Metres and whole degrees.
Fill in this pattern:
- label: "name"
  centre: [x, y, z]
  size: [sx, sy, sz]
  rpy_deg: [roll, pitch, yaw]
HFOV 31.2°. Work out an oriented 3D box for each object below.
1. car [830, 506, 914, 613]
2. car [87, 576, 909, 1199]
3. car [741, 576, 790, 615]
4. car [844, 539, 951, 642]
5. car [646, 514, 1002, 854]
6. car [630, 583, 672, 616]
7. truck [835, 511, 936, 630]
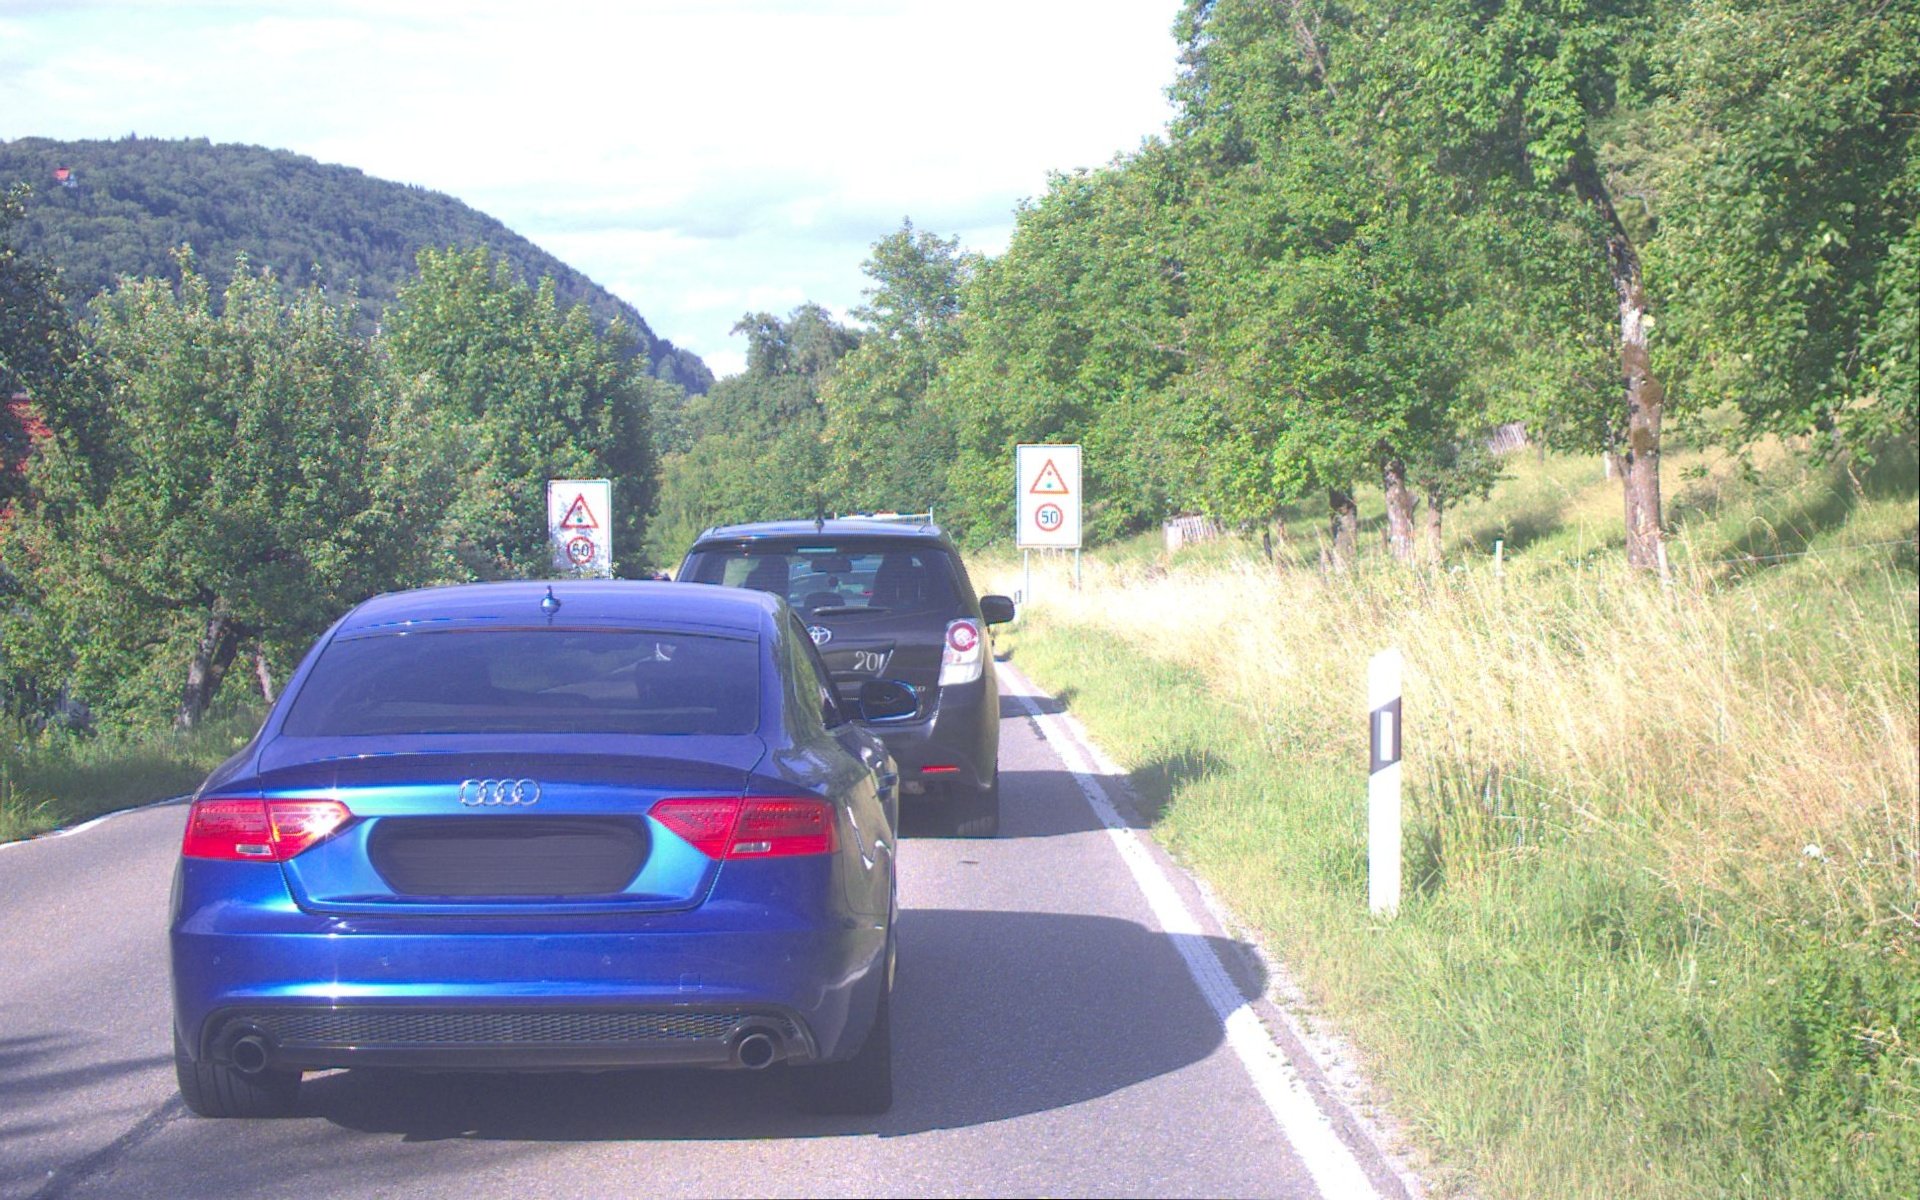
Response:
- label: "car"
  centre: [-2.111, -0.970, 81.385]
  size: [1.792, 2.445, 3.920]
  rpy_deg: [1, 1, -4]
- label: "car"
  centre: [-1.070, 0.644, 9.848]
  size: [1.805, 1.377, 4.215]
  rpy_deg: [0, 1, 0]
- label: "car"
  centre: [-7.815, -0.191, 137.777]
  size: [1.558, 1.490, 3.779]
  rpy_deg: [1, 1, -9]
- label: "car"
  centre: [-1.015, -0.183, 56.164]
  size: [1.692, 1.618, 3.789]
  rpy_deg: [0, 1, -1]
- label: "car"
  centre: [-0.672, 0.363, 18.251]
  size: [1.692, 1.618, 3.789]
  rpy_deg: [0, 1, -1]
- label: "car"
  centre: [-15.301, -0.034, 170.304]
  size: [1.558, 1.490, 3.779]
  rpy_deg: [1, 1, -13]
- label: "truck"
  centre: [-1.556, -0.620, 71.294]
  size: [1.950, 2.337, 5.094]
  rpy_deg: [1, 1, -1]
